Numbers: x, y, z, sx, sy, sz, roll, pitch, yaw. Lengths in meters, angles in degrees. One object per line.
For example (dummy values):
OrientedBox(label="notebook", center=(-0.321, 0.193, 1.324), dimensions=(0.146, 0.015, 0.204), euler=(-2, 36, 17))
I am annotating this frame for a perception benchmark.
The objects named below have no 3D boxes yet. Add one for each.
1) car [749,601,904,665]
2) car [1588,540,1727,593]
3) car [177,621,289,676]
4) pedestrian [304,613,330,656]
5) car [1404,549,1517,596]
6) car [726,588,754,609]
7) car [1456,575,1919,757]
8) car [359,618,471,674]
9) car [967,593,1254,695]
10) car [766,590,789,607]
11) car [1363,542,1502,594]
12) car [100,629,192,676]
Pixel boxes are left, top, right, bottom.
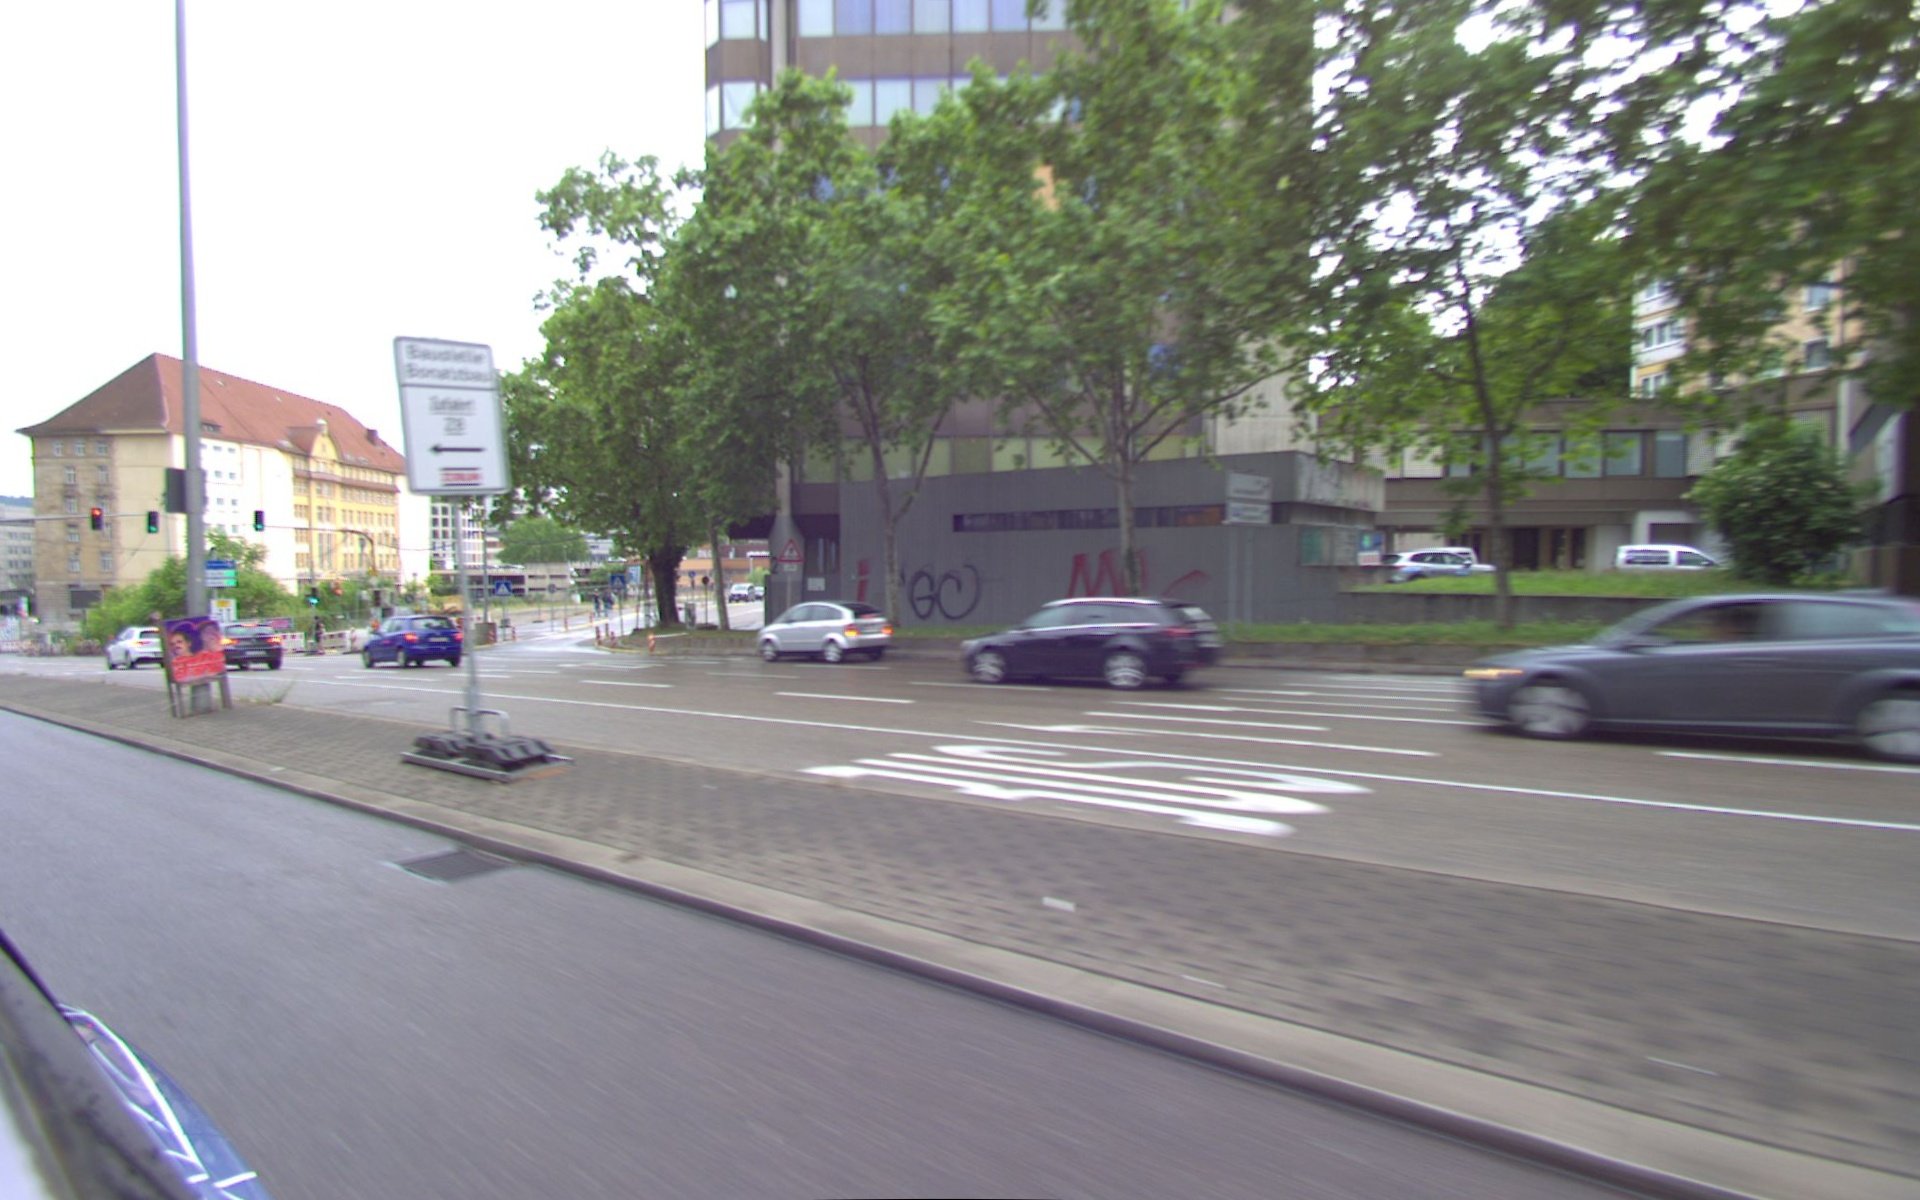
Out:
OrientedBox(label="car", center=(-3.442, 0.845, 25.778), dimensions=(3.759, 1.497, 1.777), euler=(-2, -1, 38))
OrientedBox(label="car", center=(24.999, -1.161, 36.380), dimensions=(3.991, 1.730, 1.976), euler=(-1, 0, 35))
OrientedBox(label="car", center=(-21.989, 1.444, 30.549), dimensions=(3.859, 1.497, 1.776), euler=(-2, -1, 39))
OrientedBox(label="pedestrian", center=(-30.522, 1.649, 48.018), dimensions=(0.655, 2.029, 0.809), euler=(-1, -2, 8))
OrientedBox(label="car", center=(19.752, -1.089, 39.908), dimensions=(3.931, 1.730, 2.006), euler=(-1, 0, -27))
OrientedBox(label="car", center=(-22.140, -0.152, 102.154), dimensions=(1.972, 2.029, 4.000), euler=(-1, 0, 0))
OrientedBox(label="car", center=(7.348, 0.542, 9.522), dimensions=(4.501, 1.447, 1.915), euler=(-1, -1, 39))
OrientedBox(label="car", center=(-15.899, 1.319, 29.472), dimensions=(3.436, 1.497, 1.775), euler=(-2, -1, 41))
OrientedBox(label="car", center=(2.468, 0.693, 17.282), dimensions=(4.501, 1.511, 1.915), euler=(-1, -1, 39))
OrientedBox(label="car", center=(-21.919, -0.159, 121.668), dimensions=(1.972, 2.029, 4.000), euler=(-1, 0, 0))
OrientedBox(label="car", center=(16.630, -1.117, 35.710), dimensions=(3.936, 1.730, 2.004), euler=(-1, 0, -9))
OrientedBox(label="car", center=(-29.114, 1.836, 36.159), dimensions=(3.859, 1.497, 1.777), euler=(-1, 0, 39))
